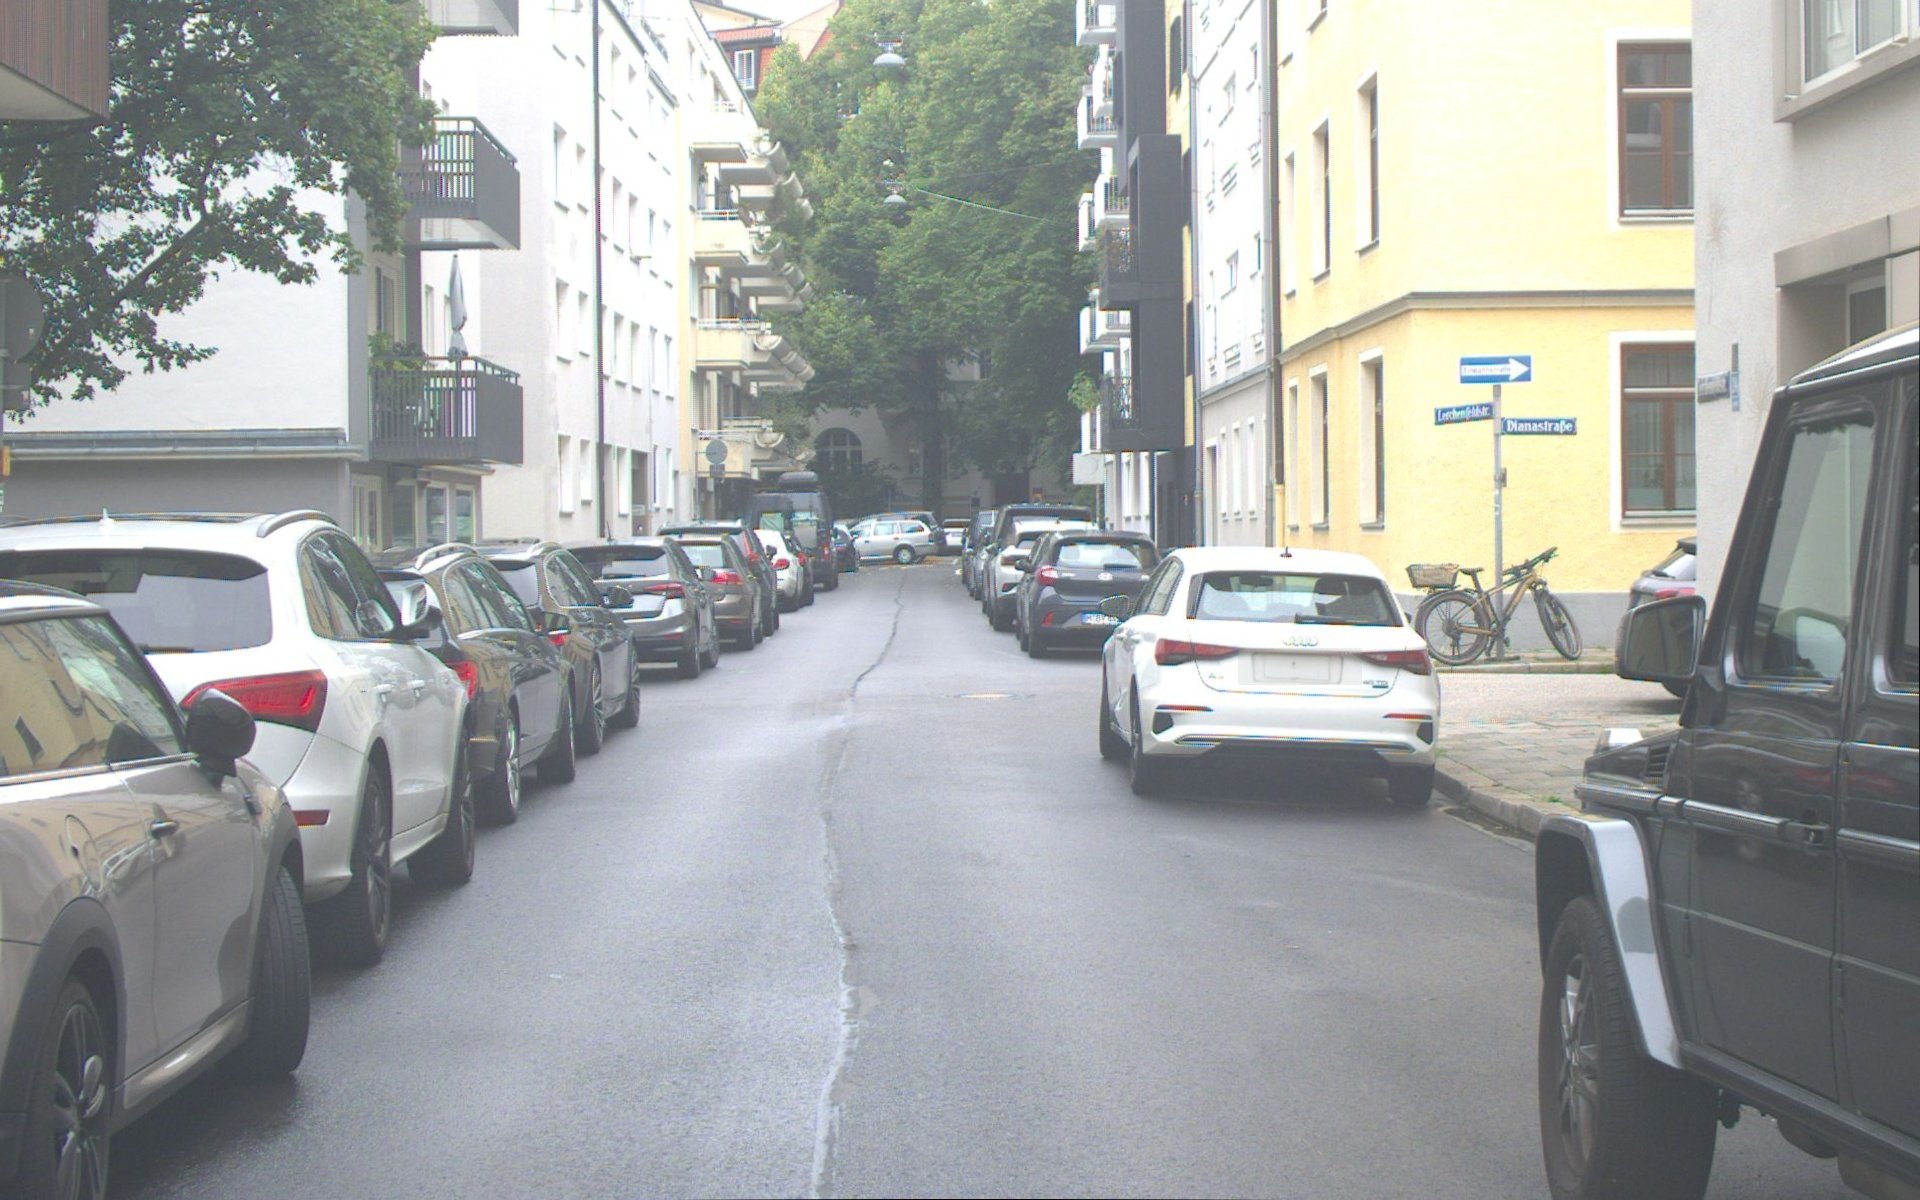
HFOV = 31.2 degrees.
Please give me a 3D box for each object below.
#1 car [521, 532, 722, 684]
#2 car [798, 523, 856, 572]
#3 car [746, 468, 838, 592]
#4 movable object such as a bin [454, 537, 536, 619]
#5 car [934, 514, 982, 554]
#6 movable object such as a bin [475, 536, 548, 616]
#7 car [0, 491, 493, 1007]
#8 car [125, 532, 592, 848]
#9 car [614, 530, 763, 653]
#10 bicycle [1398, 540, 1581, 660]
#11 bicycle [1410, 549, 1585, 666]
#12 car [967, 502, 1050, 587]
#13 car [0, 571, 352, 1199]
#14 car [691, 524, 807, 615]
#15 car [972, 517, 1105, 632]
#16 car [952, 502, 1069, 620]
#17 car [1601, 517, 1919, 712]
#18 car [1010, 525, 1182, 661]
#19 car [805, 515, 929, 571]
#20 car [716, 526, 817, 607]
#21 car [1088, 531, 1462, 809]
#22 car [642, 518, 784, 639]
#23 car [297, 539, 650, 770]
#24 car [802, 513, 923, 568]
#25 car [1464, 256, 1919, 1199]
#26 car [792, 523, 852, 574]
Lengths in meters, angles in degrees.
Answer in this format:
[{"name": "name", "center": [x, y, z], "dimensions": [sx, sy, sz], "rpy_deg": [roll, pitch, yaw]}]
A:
[{"name": "car", "center": [-3.484, 0.039, 35.997], "dimensions": [1.693, 1.437, 3.942], "rpy_deg": [-2, 1, 0]}, {"name": "car", "center": [-4.042, -1.614, 105.020], "dimensions": [1.642, 1.379, 3.483], "rpy_deg": [-3, 1, -1]}, {"name": "car", "center": [-3.992, -1.689, 82.473], "dimensions": [1.936, 2.792, 4.533], "rpy_deg": [-3, 1, -1]}, {"name": "movable object such as a bin", "center": [-7.959, -0.388, 58.928], "dimensions": [1.166, 1.332, 1.025], "rpy_deg": [-3, 1, 2]}, {"name": "car", "center": [-0.081, -2.462, 128.069], "dimensions": [1.642, 1.379, 3.746], "rpy_deg": [-3, 1, -1]}, {"name": "movable object such as a bin", "center": [-7.822, -0.422, 60.006], "dimensions": [1.047, 1.332, 0.993], "rpy_deg": [-3, 1, 2]}, {"name": "car", "center": [-2.968, 0.464, 13.472], "dimensions": [1.765, 1.669, 4.368], "rpy_deg": [-1, 1, -2]}, {"name": "car", "center": [-3.195, 0.400, 19.115], "dimensions": [1.766, 1.478, 4.424], "rpy_deg": [-1, 2, 0]}, {"name": "car", "center": [-3.415, -0.145, 43.838], "dimensions": [1.693, 1.437, 3.978], "rpy_deg": [-2, 1, -2]}, {"name": "bicycle", "center": [5.542, -0.005, 36.031], "dimensions": [1.808, 1.170, 0.505], "rpy_deg": [-2, 3, -2]}, {"name": "bicycle", "center": [5.548, 0.076, 35.498], "dimensions": [1.713, 1.135, 0.374], "rpy_deg": [-2, 3, -1]}, {"name": "car", "center": [1.170, -1.394, 85.446], "dimensions": [1.829, 1.992, 4.416], "rpy_deg": [2, 1, -1]}, {"name": "car", "center": [-2.625, 0.678, 8.298], "dimensions": [1.652, 1.431, 3.803], "rpy_deg": [-1, 1, -1]}, {"name": "car", "center": [-3.793, -0.588, 62.528], "dimensions": [1.777, 1.482, 4.519], "rpy_deg": [-3, 1, 0]}, {"name": "car", "center": [1.130, -0.413, 51.075], "dimensions": [1.682, 1.562, 4.416], "rpy_deg": [2, 1, -2]}, {"name": "car", "center": [0.815, -0.694, 58.598], "dimensions": [1.829, 1.903, 4.416], "rpy_deg": [1, 1, -1]}, {"name": "car", "center": [7.440, 0.073, 27.428], "dimensions": [4.203, 1.395, 2.001], "rpy_deg": [-1, 3, -4]}, {"name": "car", "center": [1.570, -0.131, 41.075], "dimensions": [1.751, 1.464, 4.343], "rpy_deg": [2, 1, -1]}, {"name": "car", "center": [-3.015, -1.859, 111.085], "dimensions": [3.885, 1.579, 1.648], "rpy_deg": [-3, 1, -2]}, {"name": "car", "center": [-3.785, -0.682, 67.903], "dimensions": [1.776, 1.448, 4.046], "rpy_deg": [-3, 1, -1]}, {"name": "car", "center": [1.818, 0.350, 21.031], "dimensions": [1.819, 1.403, 3.953], "rpy_deg": [0, 3, -1]}, {"name": "car", "center": [-3.523, -0.351, 49.662], "dimensions": [1.776, 1.623, 4.415], "rpy_deg": [-2, 1, -1]}, {"name": "car", "center": [-3.330, 0.313, 24.328], "dimensions": [1.856, 1.403, 4.383], "rpy_deg": [-2, 1, 0]}, {"name": "car", "center": [-3.226, -1.953, 113.313], "dimensions": [3.885, 1.579, 1.648], "rpy_deg": [-3, 1, -2]}, {"name": "car", "center": [2.226, 0.473, 6.071], "dimensions": [1.750, 1.968, 4.344], "rpy_deg": [2, 1, -3]}, {"name": "car", "center": [-4.051, -1.541, 101.151], "dimensions": [1.642, 1.379, 3.483], "rpy_deg": [-3, 1, -1]}]
